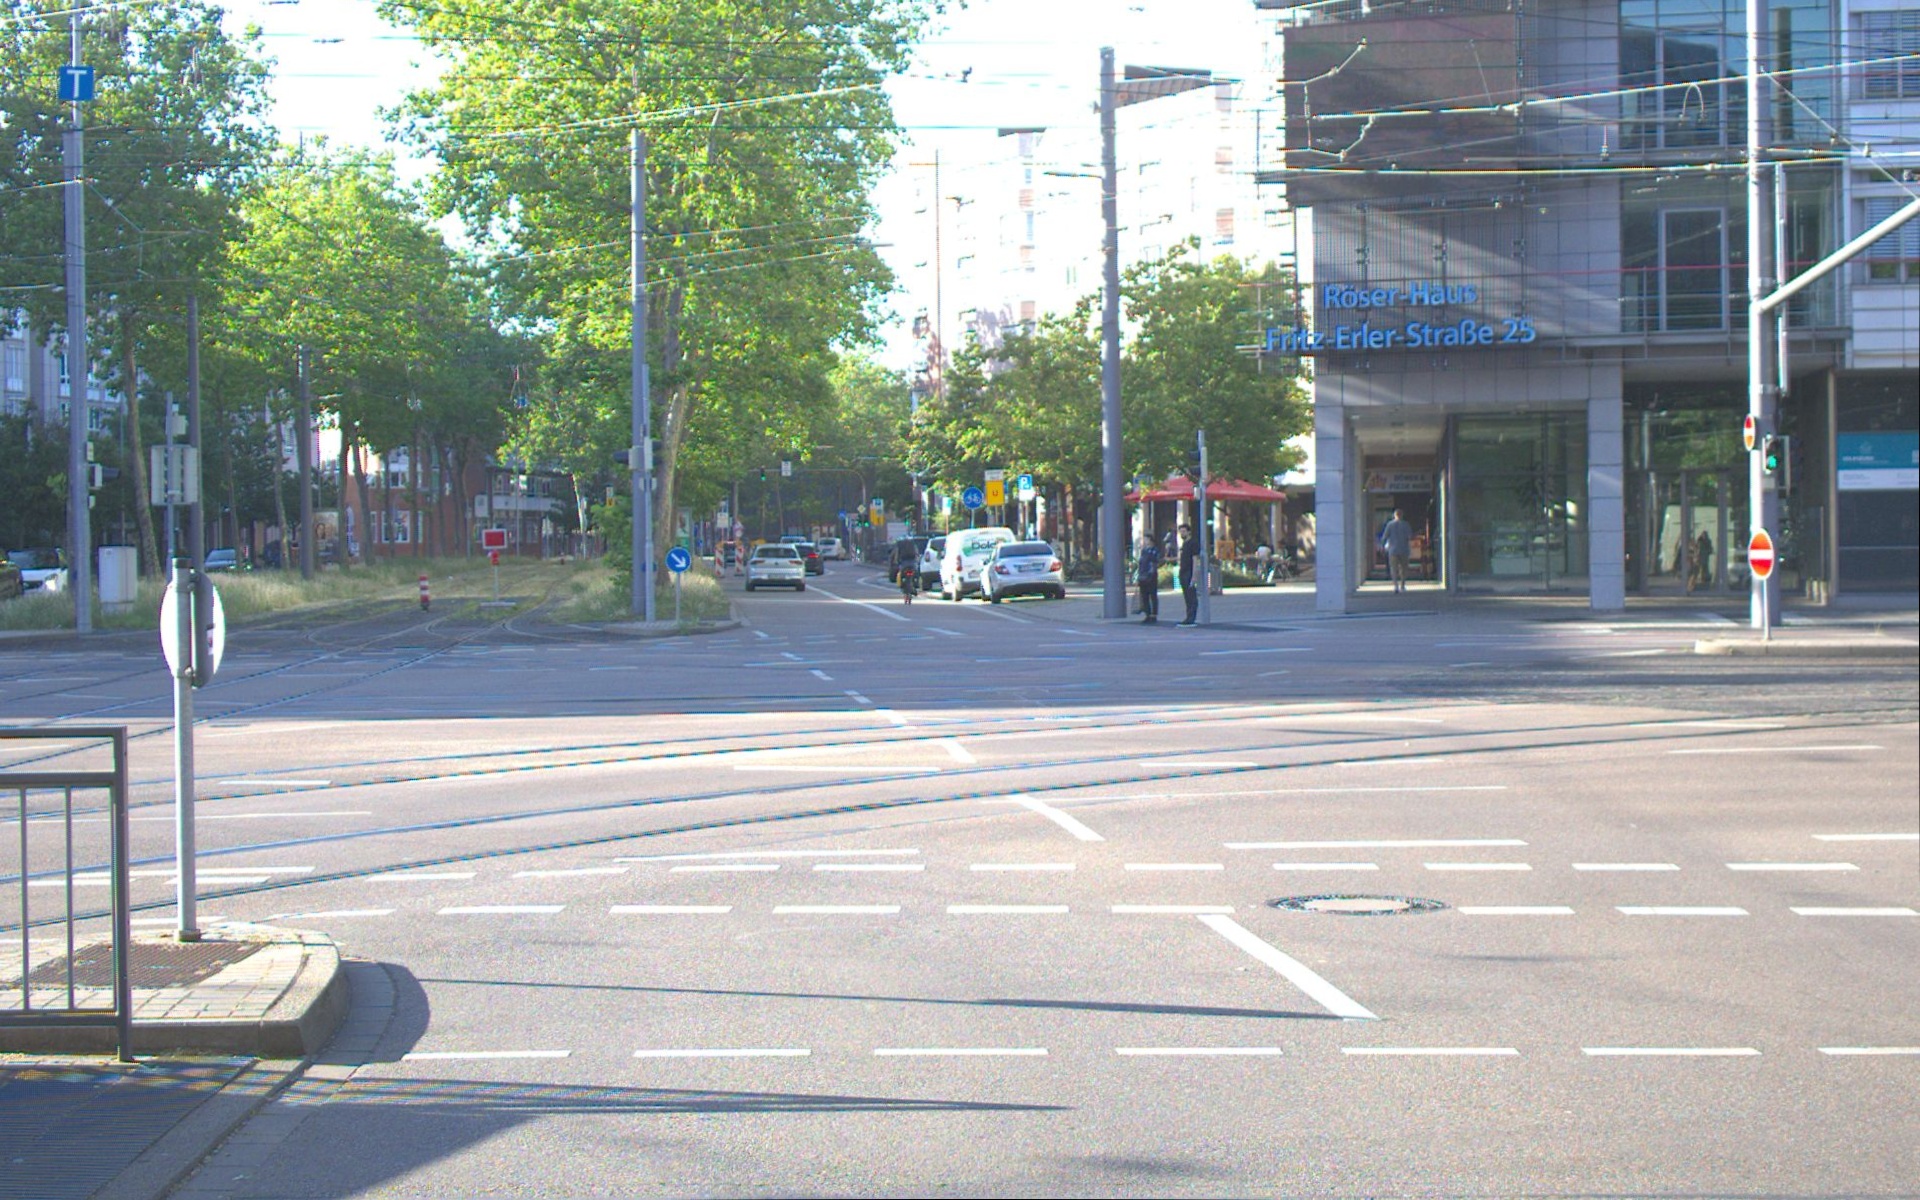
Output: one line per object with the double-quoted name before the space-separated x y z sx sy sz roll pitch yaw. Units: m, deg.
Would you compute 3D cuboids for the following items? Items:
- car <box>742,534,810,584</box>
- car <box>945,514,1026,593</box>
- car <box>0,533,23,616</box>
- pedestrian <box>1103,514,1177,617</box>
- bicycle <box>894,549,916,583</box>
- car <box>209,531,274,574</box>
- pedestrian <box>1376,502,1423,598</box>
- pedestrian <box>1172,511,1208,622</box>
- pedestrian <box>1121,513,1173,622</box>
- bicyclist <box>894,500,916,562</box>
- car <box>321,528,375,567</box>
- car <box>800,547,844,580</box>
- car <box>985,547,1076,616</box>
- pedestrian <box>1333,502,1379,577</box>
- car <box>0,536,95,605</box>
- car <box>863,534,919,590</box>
"car" -5.575 -1.262 104.300 1.748 1.413 4.000 0 2 1
"car" 0.640 -1.208 89.628 1.993 2.007 4.000 1 1 -1
"car" -21.725 -0.549 75.054 1.822 1.784 4.001 -1 1 -7
"pedestrian" 3.443 -0.661 65.819 1.342 1.944 1.011 -1 0 -1
"bicycle" -1.286 -0.802 80.287 0.490 0.785 1.862 0 1 -1
"car" -30.196 -2.007 144.563 1.910 1.777 4.000 -1 1 -1
"pedestrian" 9.292 -1.053 72.737 0.869 2.007 0.794 1 -1 -1
"pedestrian" 4.207 -0.613 62.796 0.586 2.007 0.620 1 0 0
"pedestrian" 3.492 -0.611 64.297 0.849 2.007 0.708 1 0 -5
"bicyclist" -1.287 -1.600 80.233 0.486 1.434 0.615 1 0 -1
"car" -28.847 -2.488 162.231 1.844 1.777 4.000 -1 1 -1
"car" -6.066 -1.617 150.634 1.763 1.399 4.297 0 1 -4
"car" 1.676 -0.450 82.787 2.029 1.590 4.000 1 1 -1
"pedestrian" 11.683 -1.771 101.434 1.313 2.182 1.170 1 0 6
"car" -21.962 -0.718 82.782 1.676 1.601 4.001 1 1 -6
"car" -2.526 -1.406 126.615 1.993 2.007 4.000 1 1 -1
